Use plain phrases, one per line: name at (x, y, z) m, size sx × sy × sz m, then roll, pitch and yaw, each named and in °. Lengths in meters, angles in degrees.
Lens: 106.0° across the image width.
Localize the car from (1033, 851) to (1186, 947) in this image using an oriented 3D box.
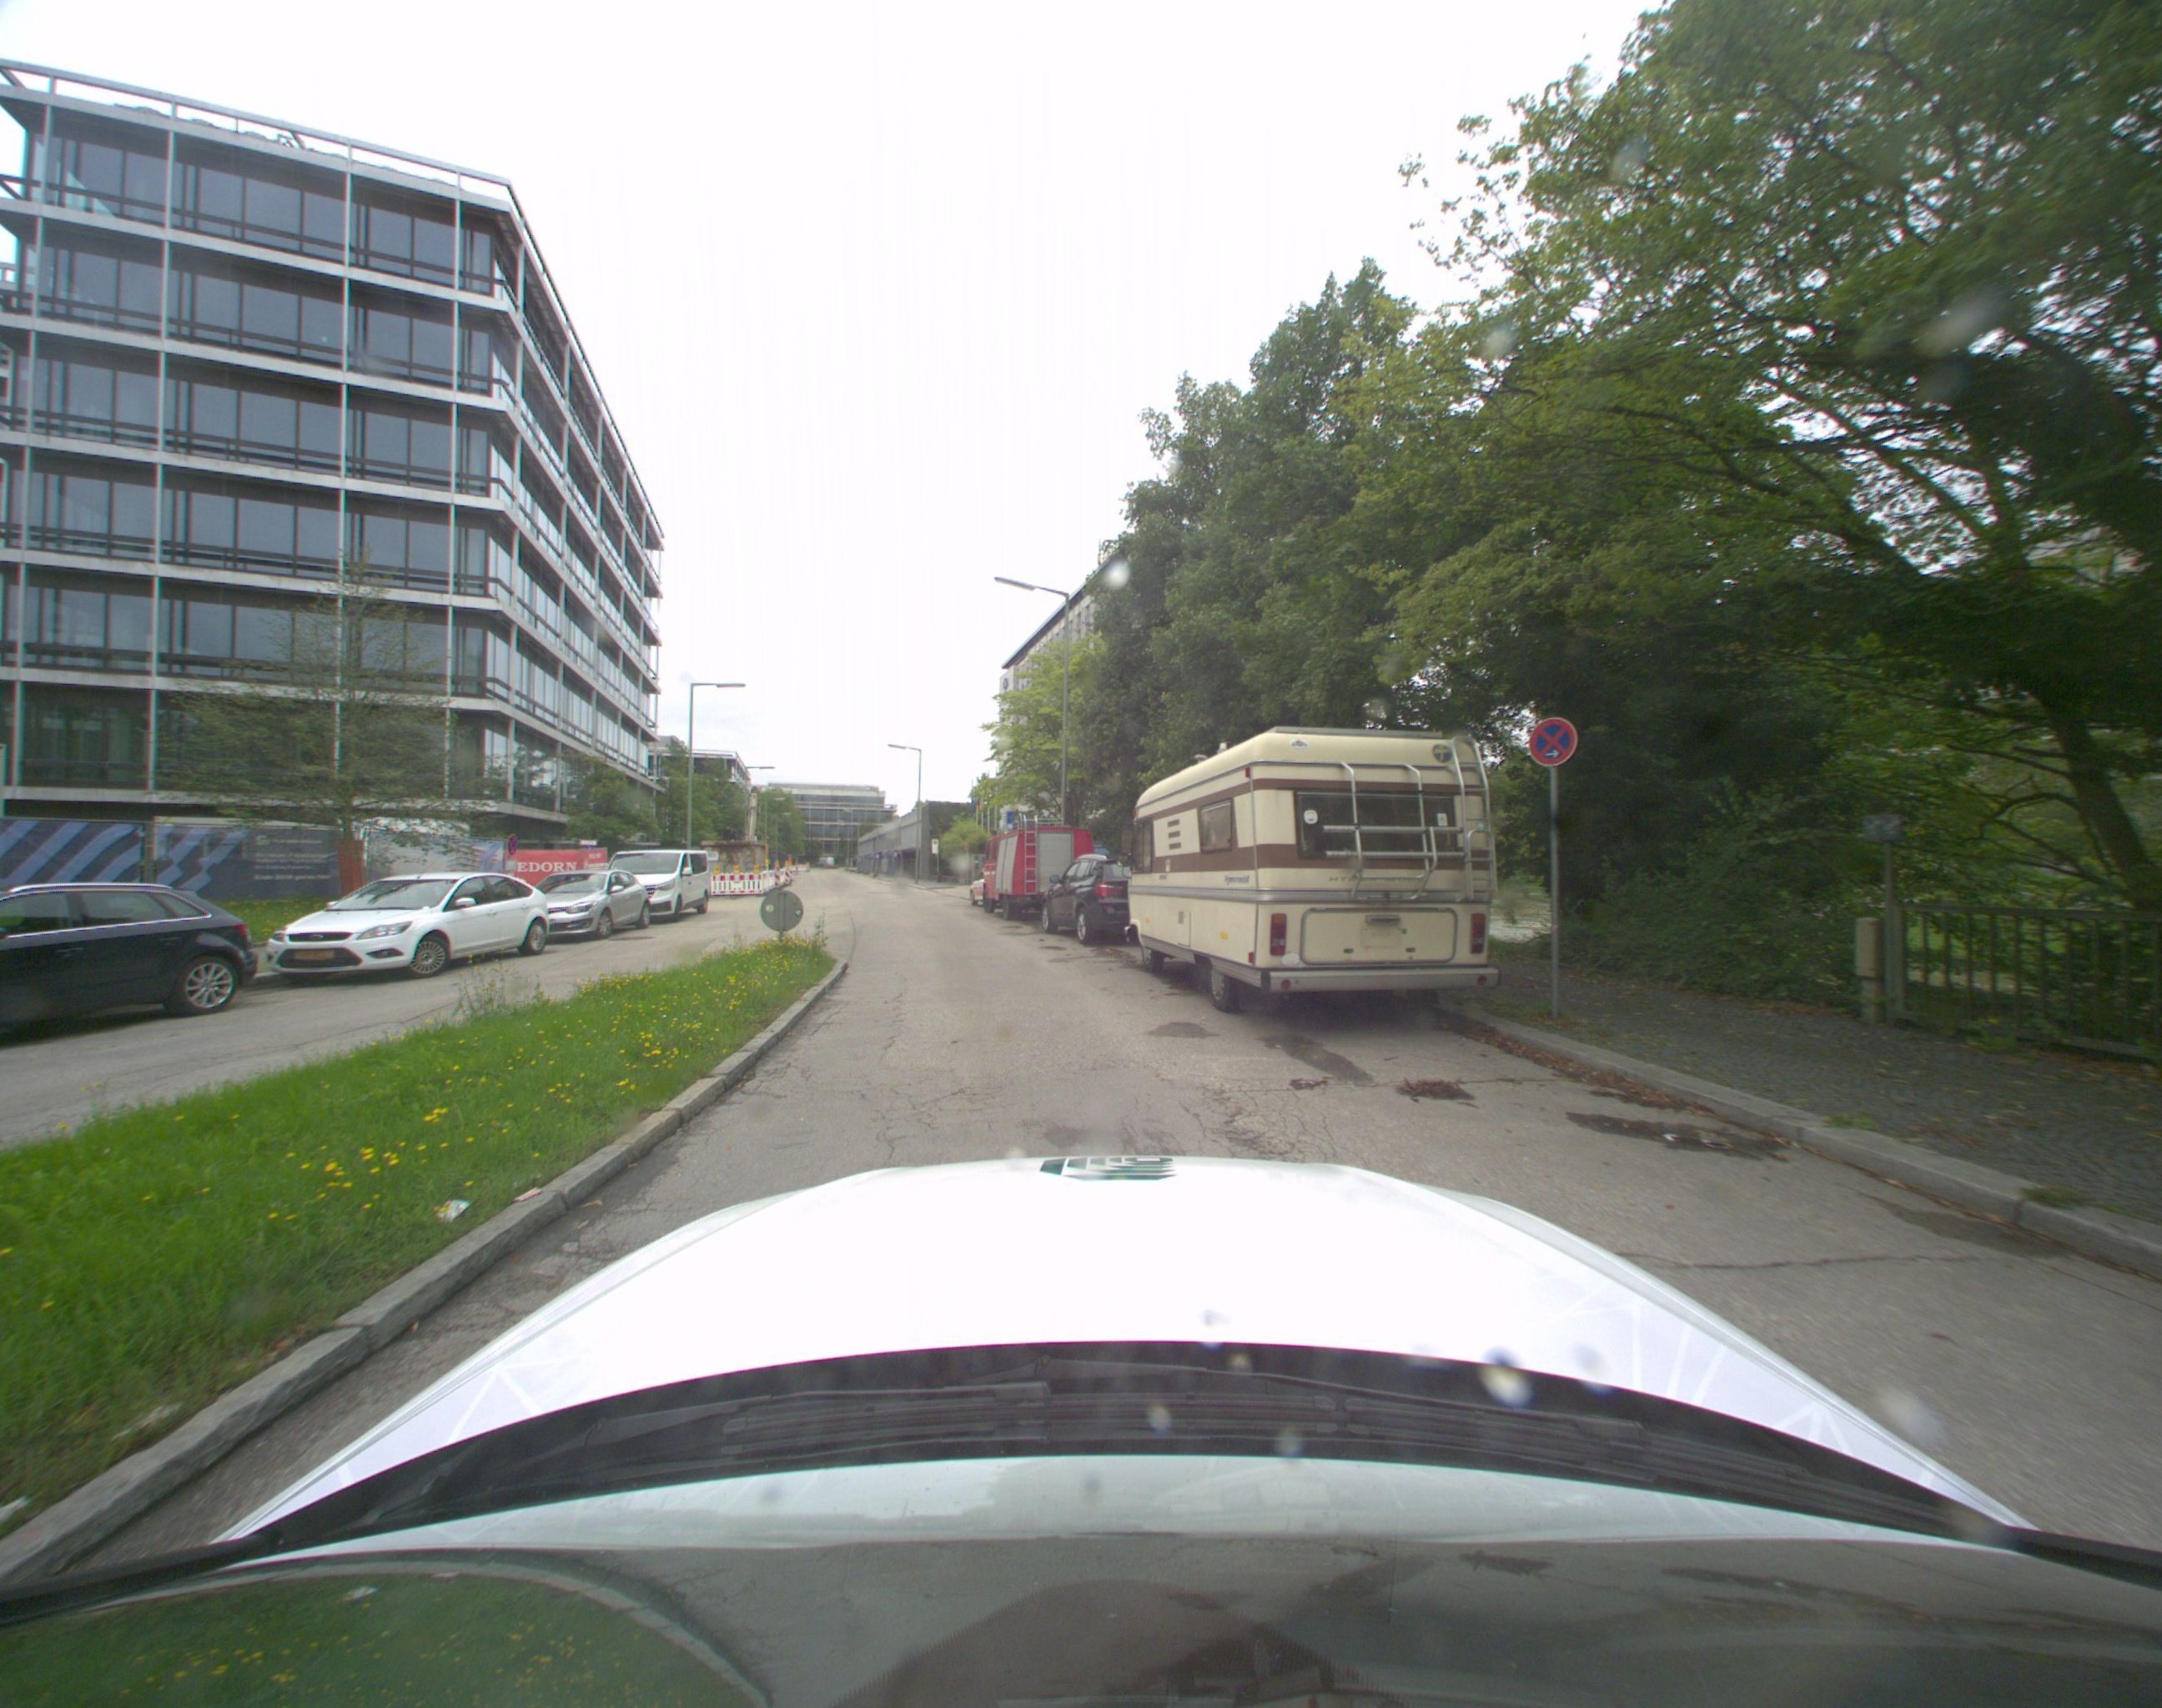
car at (0.398, 0.798, 16.301) m, size 1.780 × 1.649 × 4.435 m, roll 1°, pitch -1°, yaw -16°

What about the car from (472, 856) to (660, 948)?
car at (-10.896, 0.911, 17.670) m, size 1.995 × 1.728 × 4.432 m, roll 0°, pitch 0°, yaw -12°

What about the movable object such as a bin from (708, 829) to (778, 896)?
movable object such as a bin at (-20.633, 0.491, 50.257) m, size 3.250 × 3.716 × 8.953 m, roll 0°, pitch 0°, yaw -18°

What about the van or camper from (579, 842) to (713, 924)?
van or camper at (-11.982, 0.728, 22.881) m, size 1.996 × 2.013 × 5.352 m, roll 0°, pitch 0°, yaw -13°

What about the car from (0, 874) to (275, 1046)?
car at (-10.149, 0.923, 7.164) m, size 1.867 × 1.437 × 4.325 m, roll 0°, pitch -1°, yaw -2°

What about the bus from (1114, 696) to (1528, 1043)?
bus at (2.091, 0.155, 9.353) m, size 2.315 × 2.699 × 5.715 m, roll 0°, pitch -1°, yaw -10°

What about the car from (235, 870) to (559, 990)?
car at (-10.202, 1.024, 12.668) m, size 1.764 × 1.486 × 4.212 m, roll 0°, pitch -1°, yaw -6°

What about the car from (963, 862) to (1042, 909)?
car at (-2.898, 1.057, 29.238) m, size 1.782 × 1.550 × 4.227 m, roll 1°, pitch -1°, yaw -21°

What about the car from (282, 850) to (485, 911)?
car at (-23.370, 0.847, 27.538) m, size 4.774 × 1.922 × 1.988 m, roll 0°, pitch 0°, yaw -18°

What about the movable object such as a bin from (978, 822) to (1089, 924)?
movable object such as a bin at (-1.536, 0.493, 22.972) m, size 2.106 × 2.459 × 6.158 m, roll 1°, pitch -1°, yaw -13°
